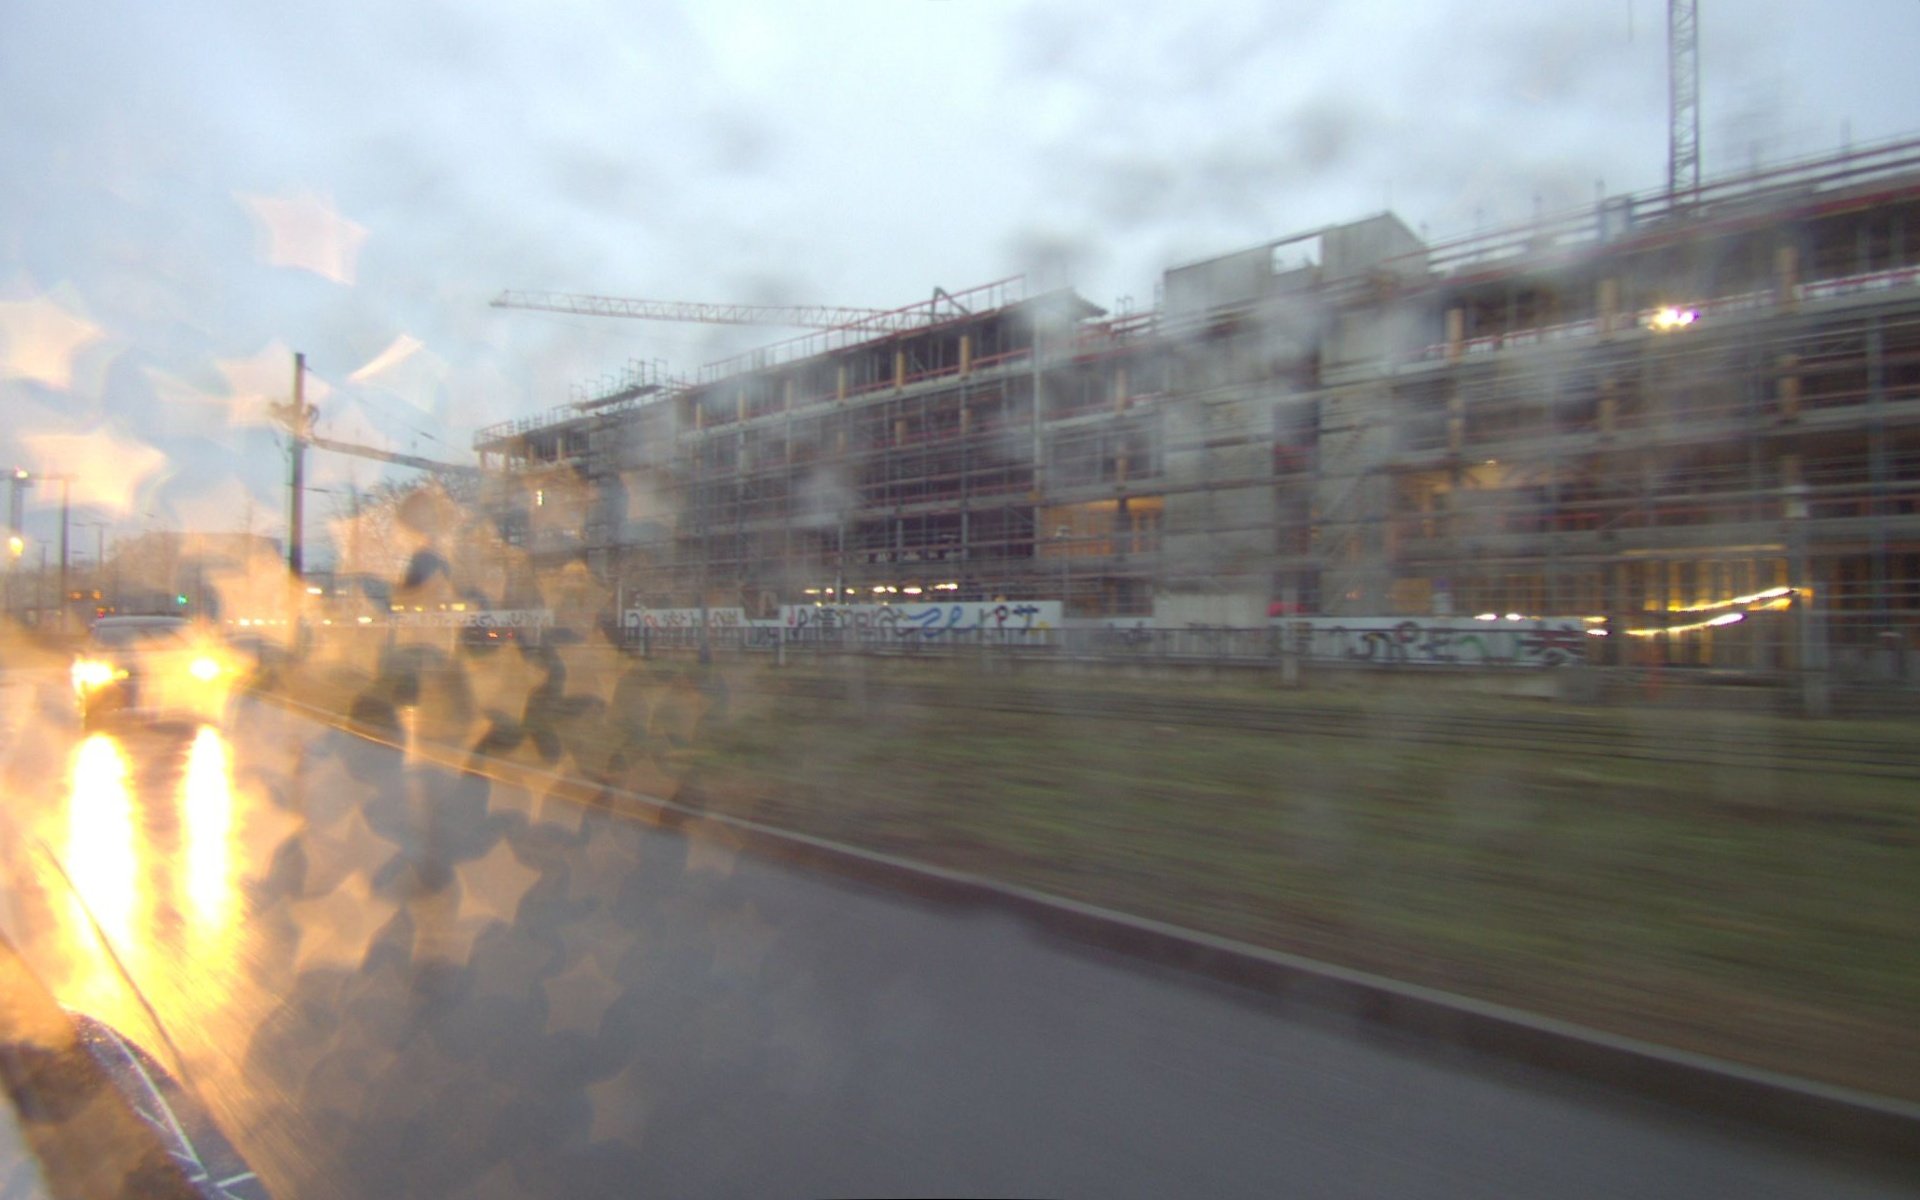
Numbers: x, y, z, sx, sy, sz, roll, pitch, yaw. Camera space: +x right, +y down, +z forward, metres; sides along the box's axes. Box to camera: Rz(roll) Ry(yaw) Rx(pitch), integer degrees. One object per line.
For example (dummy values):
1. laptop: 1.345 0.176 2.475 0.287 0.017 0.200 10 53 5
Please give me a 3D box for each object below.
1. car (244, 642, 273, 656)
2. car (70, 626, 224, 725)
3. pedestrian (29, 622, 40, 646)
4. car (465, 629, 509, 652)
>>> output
1. car: -77.462 5.396 111.748 4.338 1.425 1.665 -2 -1 42
2. car: -13.860 1.192 17.171 1.783 1.464 4.009 2 -3 -42
3. pedestrian: -66.713 2.442 72.953 0.576 1.714 0.741 0 -1 -39
4. car: -36.056 3.104 77.082 3.763 1.675 1.735 -3 -3 42
